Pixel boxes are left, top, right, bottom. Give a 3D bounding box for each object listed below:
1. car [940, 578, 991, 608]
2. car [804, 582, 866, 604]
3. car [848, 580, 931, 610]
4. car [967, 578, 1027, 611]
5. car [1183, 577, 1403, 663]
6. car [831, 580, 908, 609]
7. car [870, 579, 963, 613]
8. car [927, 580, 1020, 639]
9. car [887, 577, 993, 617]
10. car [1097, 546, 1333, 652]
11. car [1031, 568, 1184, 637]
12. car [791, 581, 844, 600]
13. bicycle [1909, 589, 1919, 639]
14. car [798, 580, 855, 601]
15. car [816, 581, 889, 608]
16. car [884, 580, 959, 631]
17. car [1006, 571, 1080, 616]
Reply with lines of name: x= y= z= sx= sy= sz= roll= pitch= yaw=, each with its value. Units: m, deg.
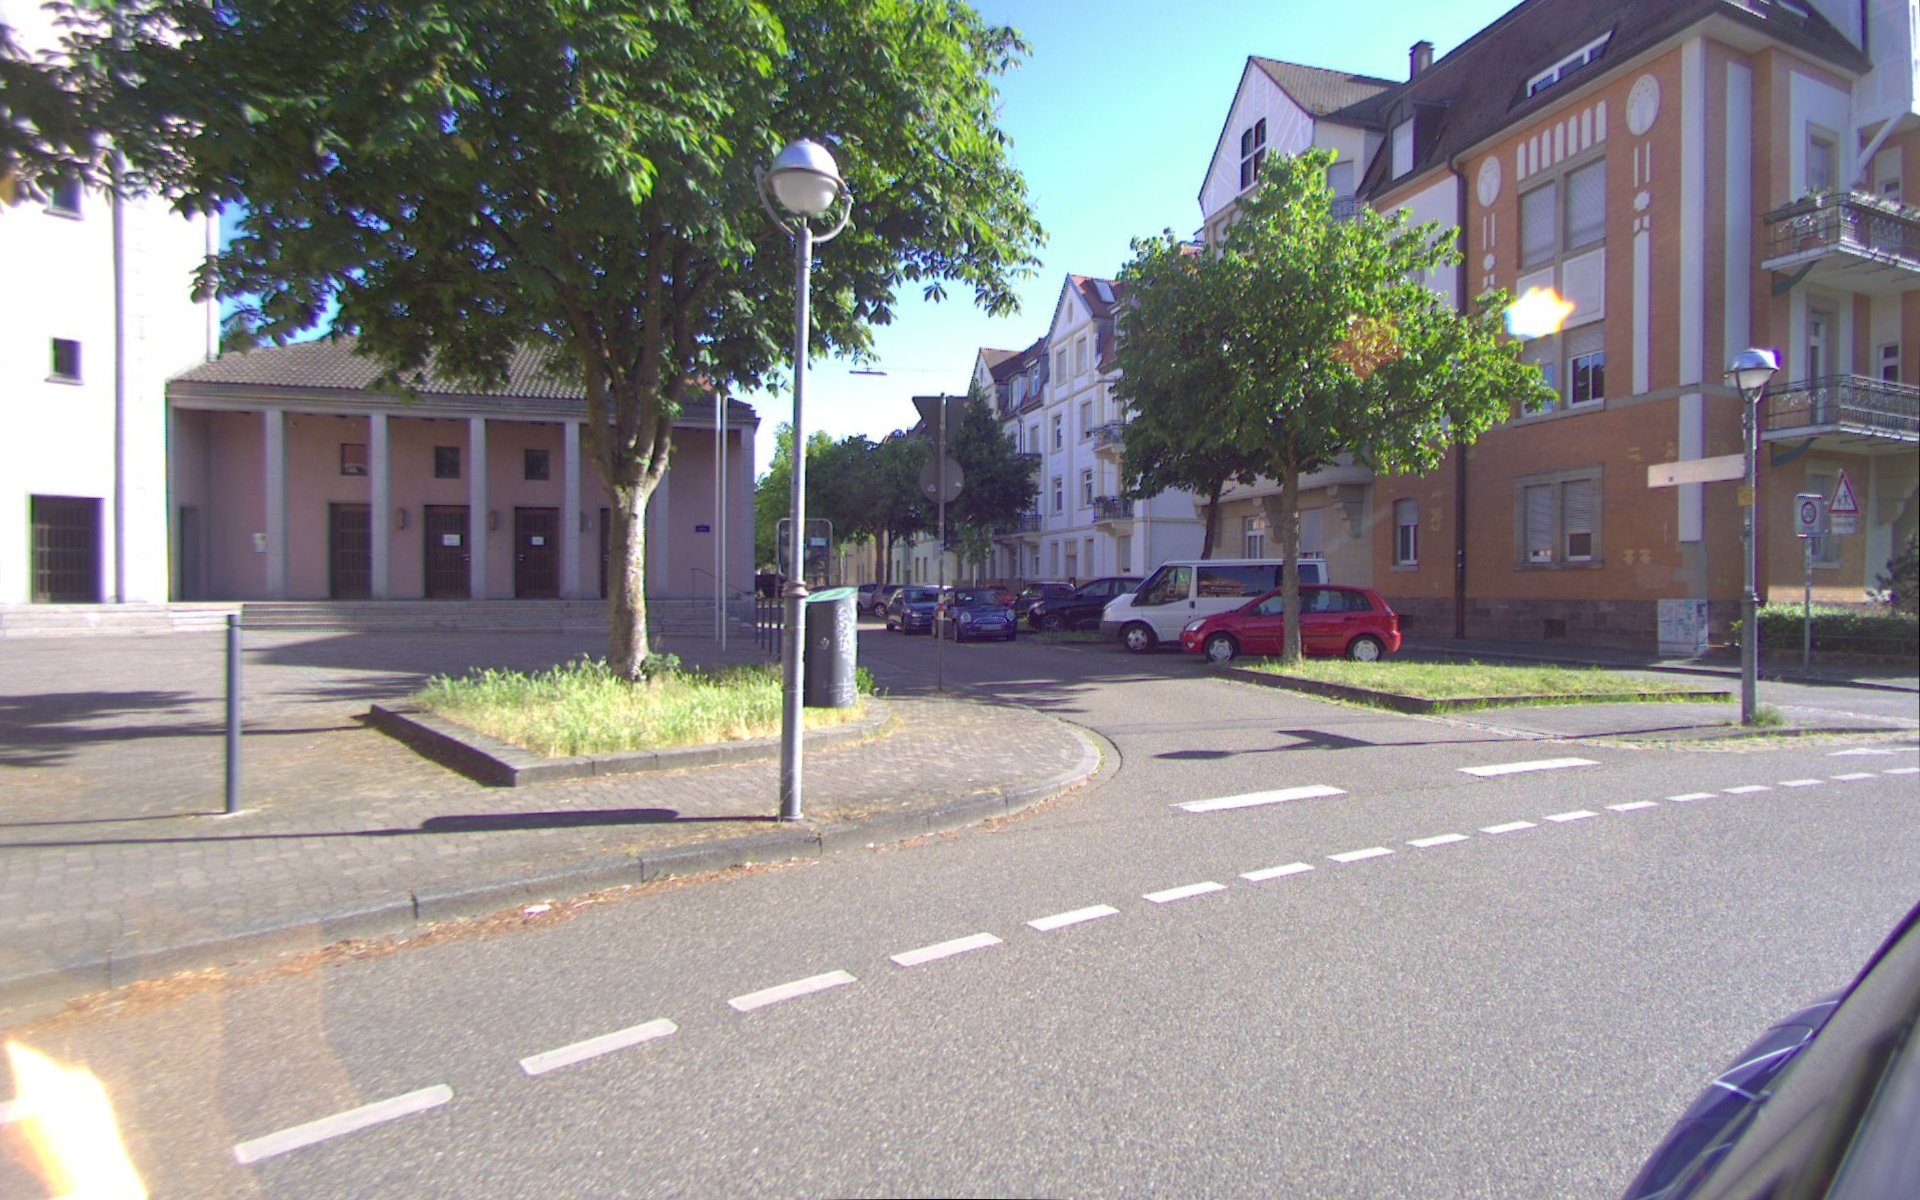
car: x=0.230 y=-0.379 z=52.297 sx=1.724 sy=1.474 sz=3.964 roll=0 pitch=1 yaw=-14
car: x=-8.646 y=-0.516 z=70.151 sx=3.894 sy=1.515 sz=1.755 roll=0 pitch=1 yaw=12
car: x=-3.628 y=-0.291 z=52.127 sx=3.907 sy=1.515 sz=1.749 roll=1 pitch=1 yaw=21
car: x=1.634 y=-0.277 z=46.272 sx=1.724 sy=1.474 sz=3.964 roll=0 pitch=1 yaw=-14
car: x=5.989 y=0.314 z=18.513 sx=3.644 sy=1.453 sz=1.661 roll=0 pitch=1 yaw=16
car: x=-4.974 y=-0.323 z=55.665 sx=3.907 sy=1.515 sz=1.749 roll=1 pitch=1 yaw=21
car: x=-1.972 y=-0.211 z=46.371 sx=3.907 sy=1.515 sz=1.749 roll=1 pitch=1 yaw=21
car: x=0.297 y=0.203 z=27.500 sx=1.580 sy=1.439 sz=3.621 roll=-3 pitch=2 yaw=-14
car: x=-0.793 y=-0.138 z=40.496 sx=3.907 sy=1.515 sz=1.749 roll=1 pitch=1 yaw=21
car: x=5.392 y=-0.064 z=21.438 sx=4.645 sy=2.071 sz=1.982 roll=1 pitch=1 yaw=19
car: x=3.999 y=0.034 z=27.341 sx=3.900 sy=1.760 sz=1.753 roll=0 pitch=1 yaw=17
car: x=-11.526 y=-0.754 z=81.733 sx=3.894 sy=1.515 sz=1.755 roll=0 pitch=1 yaw=12
bicycle: x=21.360 y=0.325 z=21.496 sx=0.490 sy=1.085 sz=1.678 roll=0 pitch=1 yaw=-24
car: x=-10.012 y=-0.698 z=75.707 sx=3.894 sy=1.515 sz=1.755 roll=0 pitch=1 yaw=12
car: x=-6.237 y=-0.356 z=58.914 sx=3.894 sy=1.515 sz=1.755 roll=0 pitch=1 yaw=12
car: x=-1.264 y=0.137 z=31.876 sx=1.580 sy=1.439 sz=3.621 roll=-3 pitch=2 yaw=-14
car: x=3.200 y=-0.282 z=39.780 sx=1.724 sy=1.678 sz=3.964 roll=0 pitch=1 yaw=-14
